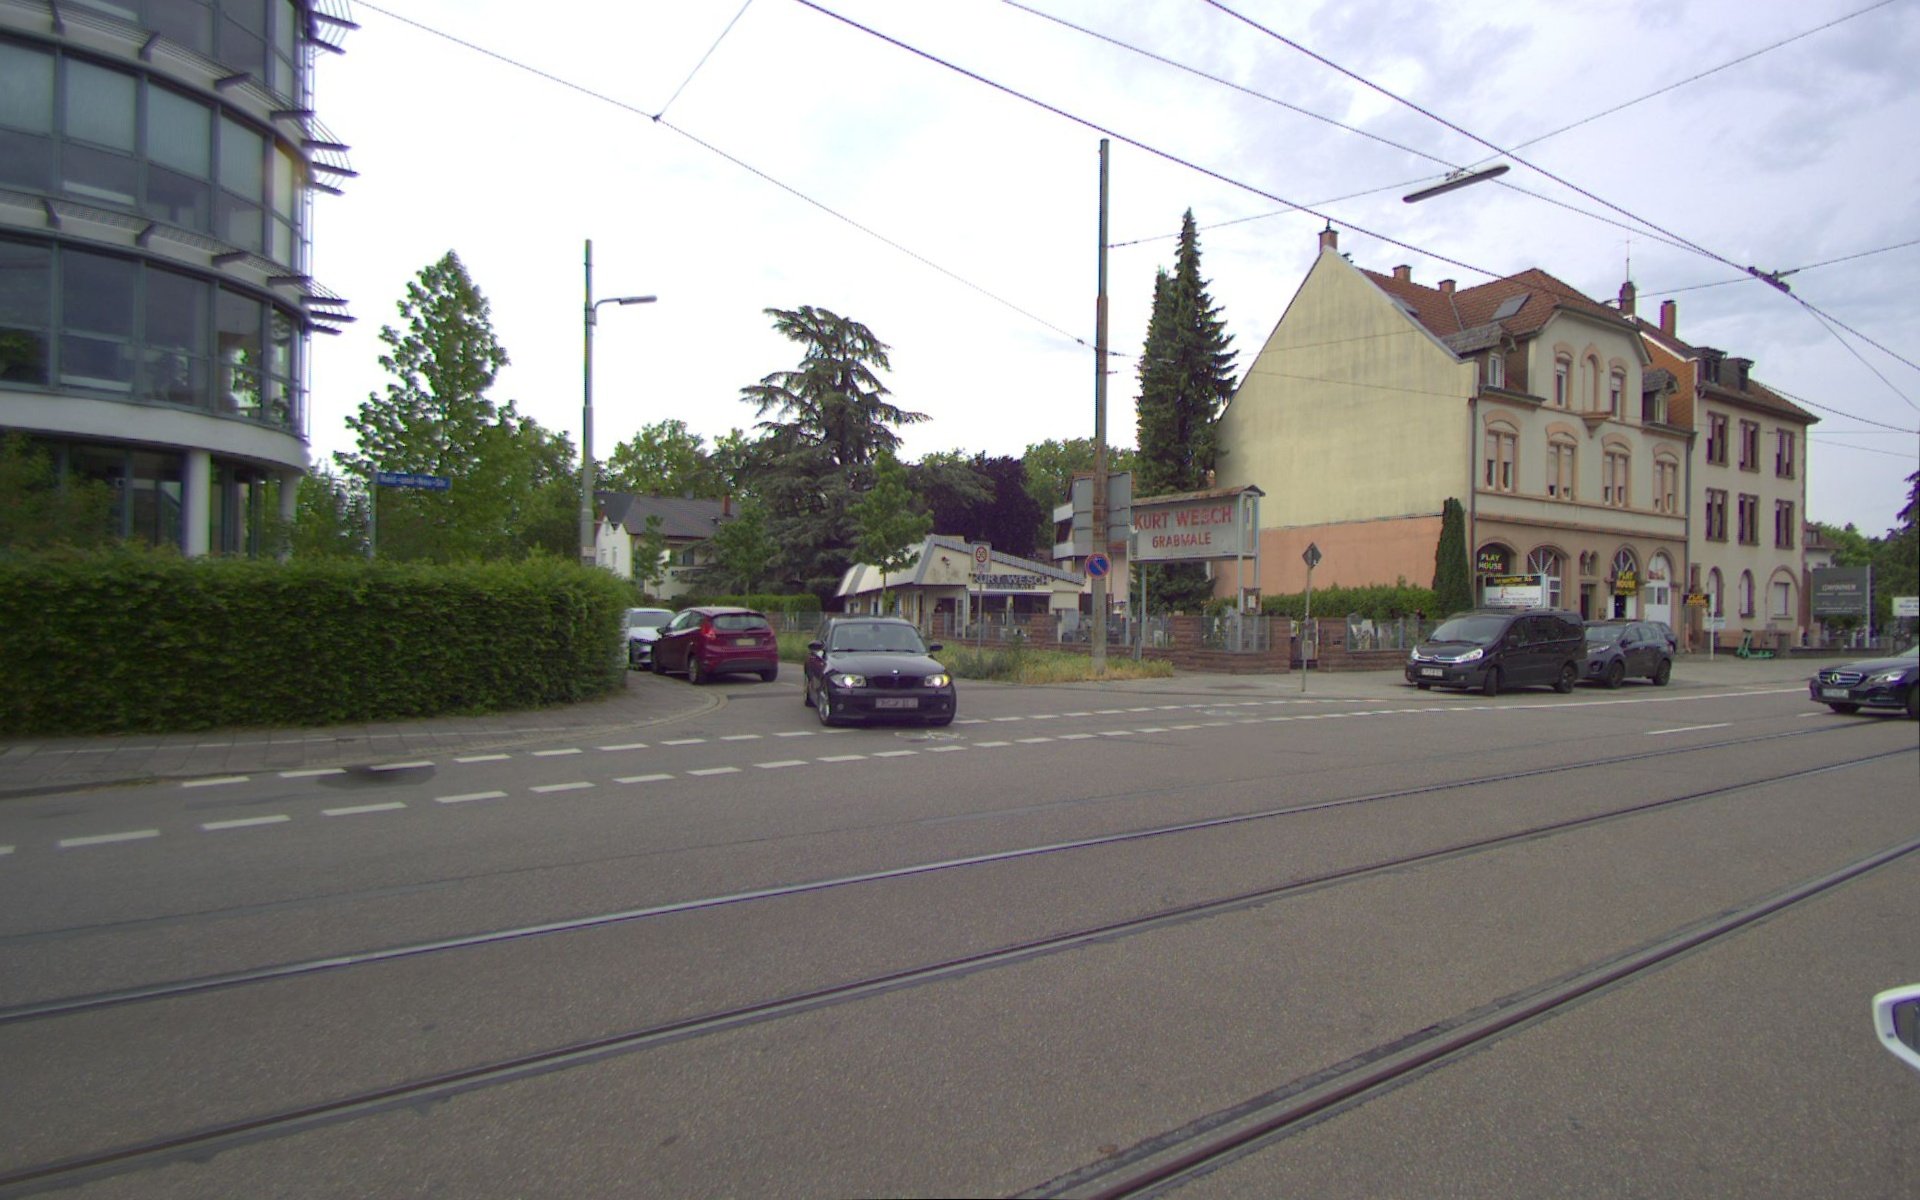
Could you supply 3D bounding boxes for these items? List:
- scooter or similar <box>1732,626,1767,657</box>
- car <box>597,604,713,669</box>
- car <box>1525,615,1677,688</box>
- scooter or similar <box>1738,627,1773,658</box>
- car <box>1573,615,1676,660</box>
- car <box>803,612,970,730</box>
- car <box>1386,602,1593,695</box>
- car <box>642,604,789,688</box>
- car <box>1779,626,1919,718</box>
[{"bbox_3d":[32.306,1.700,41.123,1.032,1.204,0.318,2,0,25],"label":"scooter or similar"},{"bbox_3d":[-7.467,0.869,24.332,1.811,1.439,3.968,2,-2,-30],"label":"car"},{"bbox_3d":[17.064,1.353,26.700,4.148,1.740,1.834,2,0,-33],"label":"car"},{"bbox_3d":[32.170,1.721,40.645,1.032,1.204,0.318,2,0,25],"label":"scooter or similar"},{"bbox_3d":[24.185,1.368,36.533,3.706,1.520,1.743,2,0,-33],"label":"car"},{"bbox_3d":[-1.181,0.888,14.148,1.771,1.406,3.923,1,-1,-13],"label":"car"},{"bbox_3d":[12.345,1.100,23.334,4.942,1.912,1.981,2,0,-32],"label":"car"},{"bbox_3d":[-5.025,0.851,20.341,1.749,1.437,3.687,-1,2,-33],"label":"car"},{"bbox_3d":[17.108,1.202,16.959,4.787,1.446,1.954,1,-1,6],"label":"car"}]
